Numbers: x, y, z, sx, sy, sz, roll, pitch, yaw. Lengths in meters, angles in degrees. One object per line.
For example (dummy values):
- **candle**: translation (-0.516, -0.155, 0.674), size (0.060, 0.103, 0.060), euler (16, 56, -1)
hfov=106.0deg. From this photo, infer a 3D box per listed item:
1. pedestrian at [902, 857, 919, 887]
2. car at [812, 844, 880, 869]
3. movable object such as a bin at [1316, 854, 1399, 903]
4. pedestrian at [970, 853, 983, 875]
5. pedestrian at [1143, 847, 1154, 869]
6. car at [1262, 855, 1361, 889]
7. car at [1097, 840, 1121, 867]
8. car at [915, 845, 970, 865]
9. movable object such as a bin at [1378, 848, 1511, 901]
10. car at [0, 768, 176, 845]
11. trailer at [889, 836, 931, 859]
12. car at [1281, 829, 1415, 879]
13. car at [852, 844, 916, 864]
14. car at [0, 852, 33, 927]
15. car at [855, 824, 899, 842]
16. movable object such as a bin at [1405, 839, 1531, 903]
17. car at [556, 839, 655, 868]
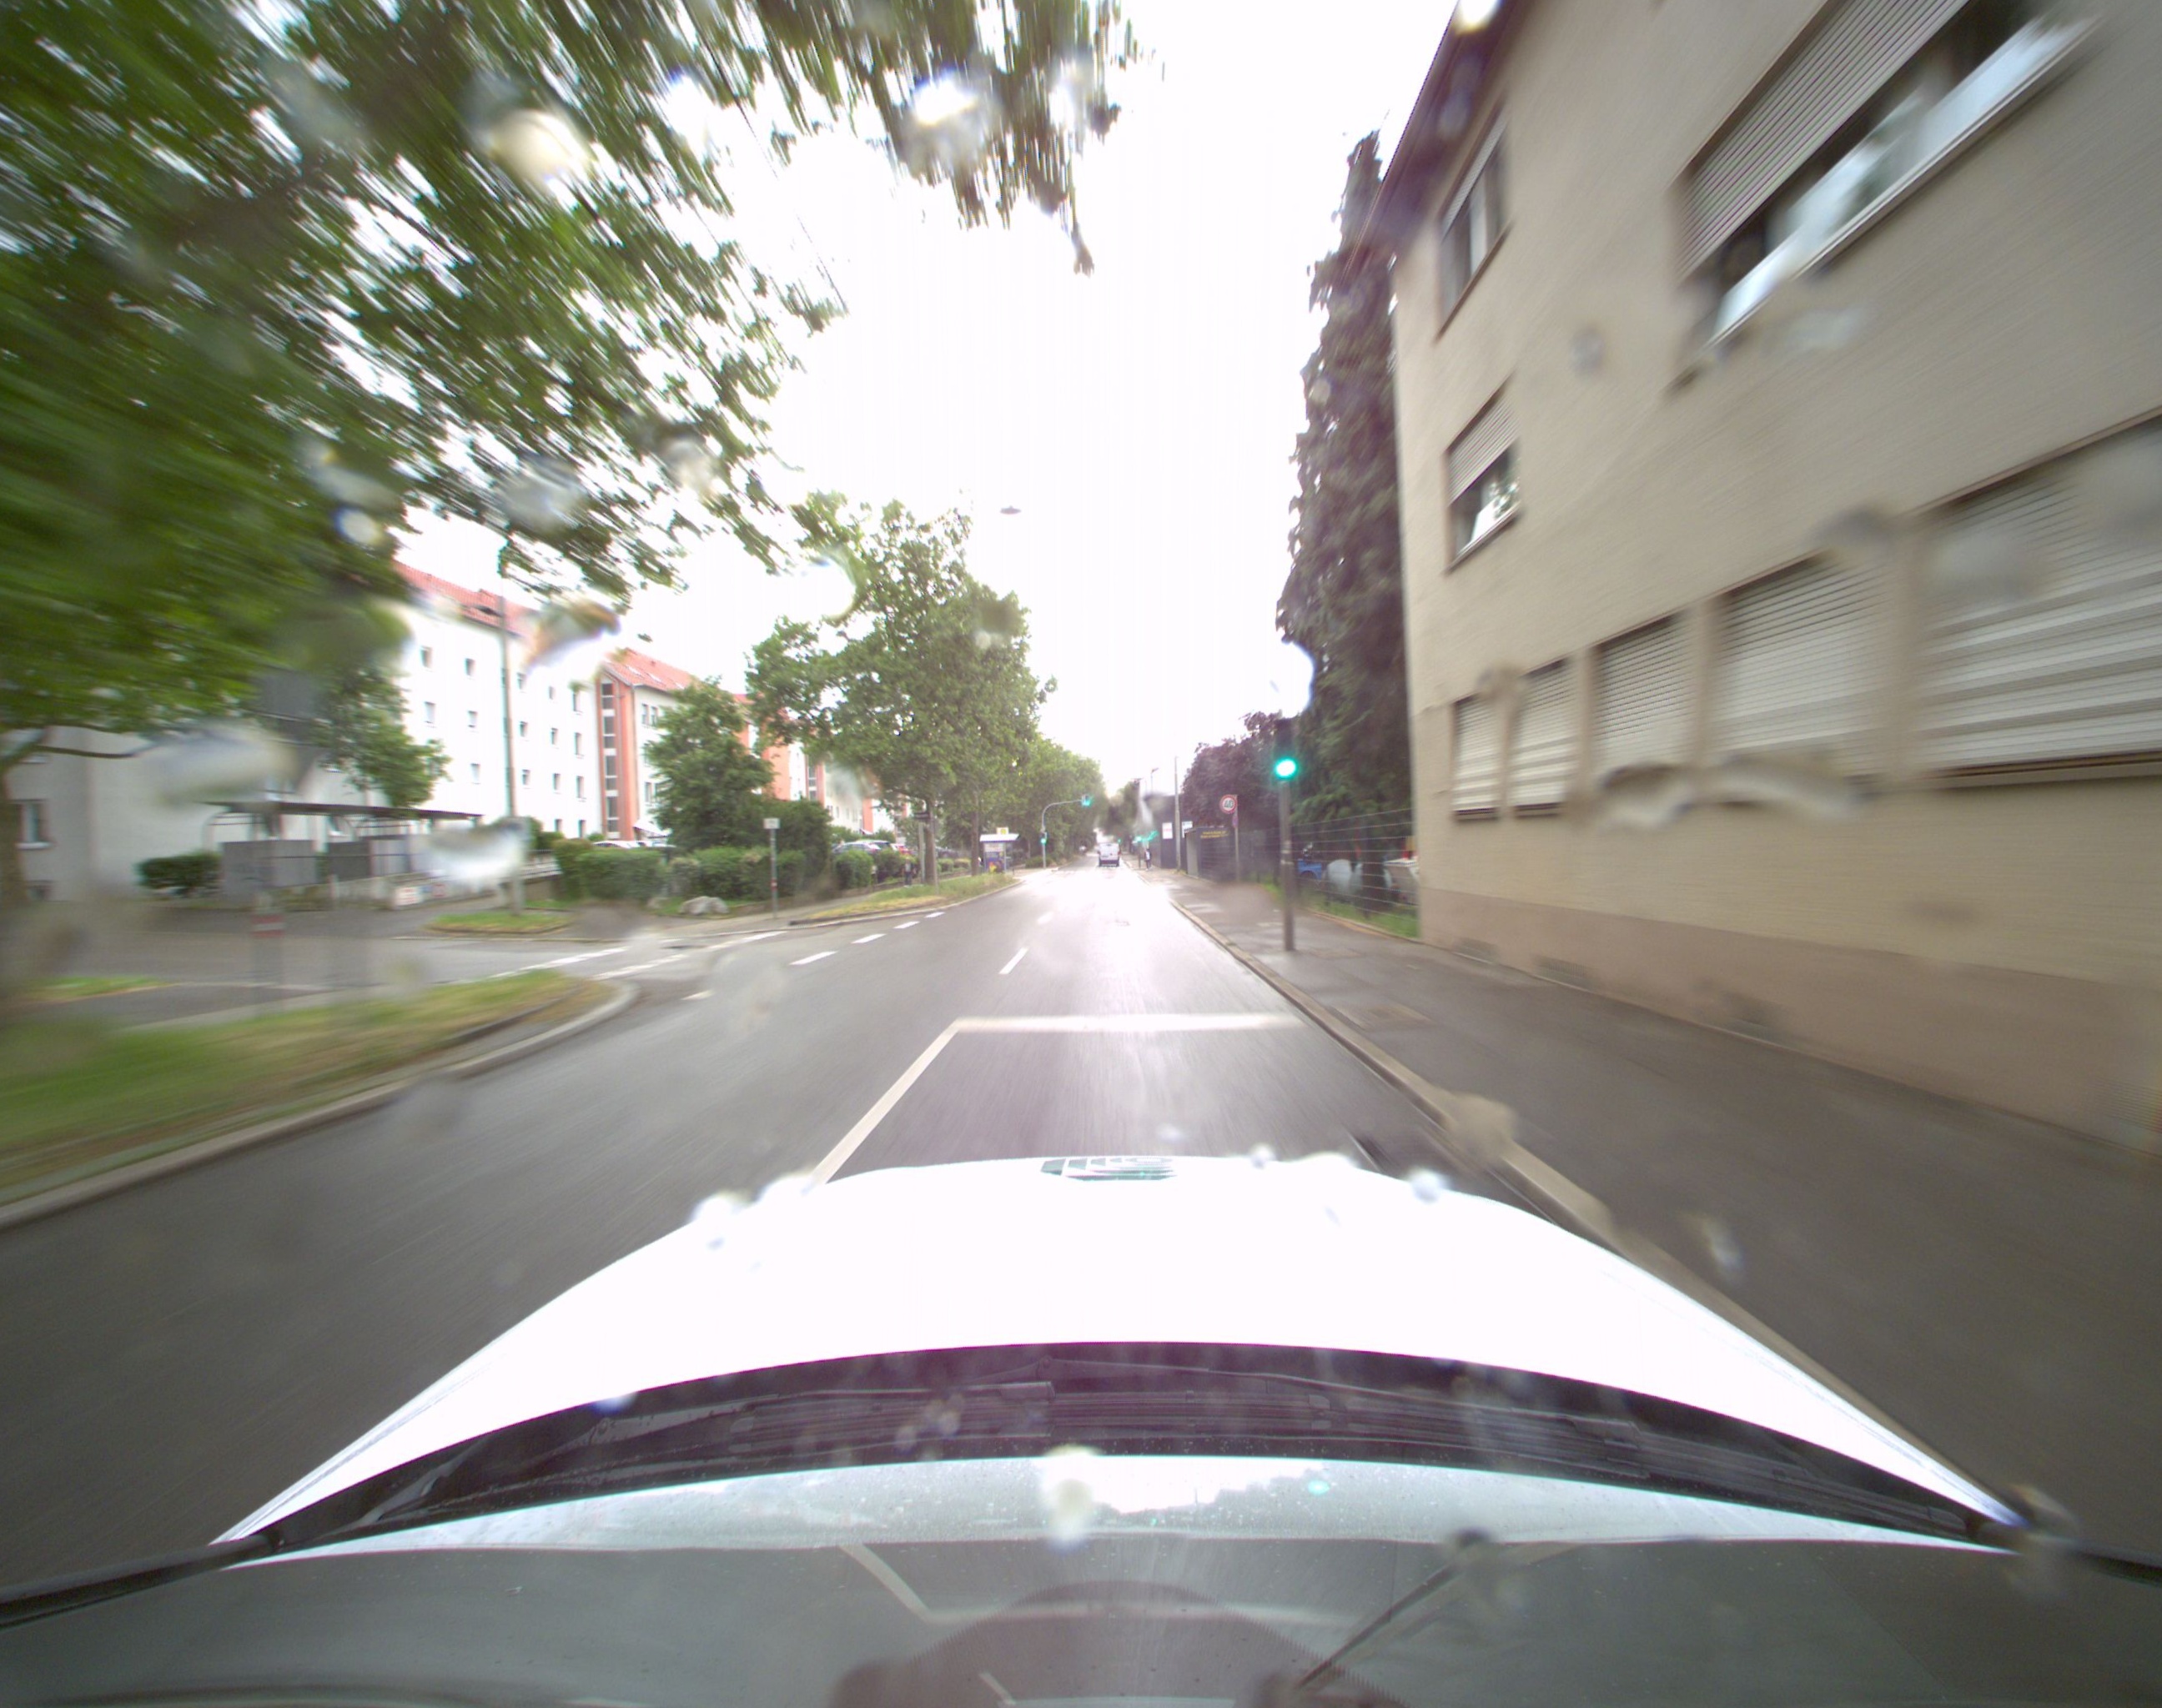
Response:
- **pedestrian**: translation (-9.349, 0.991, 44.660), size (0.753, 1.611, 0.834), euler (0, -1, -3)
- **car**: translation (-14.551, 0.197, 50.529), size (3.643, 1.498, 1.896), euler (0, -1, -2)
- **movable object such as a bin**: translation (8.132, 0.678, 24.139), size (1.367, 1.320, 2.856), euler (0, 0, -3)
- **pedestrian**: translation (-7.990, 0.797, 62.073), size (0.738, 1.598, 0.607), euler (-5, -2, 5)
- **pedestrian**: translation (5.283, 0.352, 64.068), size (0.741, 1.704, 0.900), euler (0, -1, -4)
- **car**: translation (11.311, 0.876, 40.183), size (4.365, 1.531, 1.793), euler (-2, -1, -1)
- **car**: translation (2.859, -0.027, 82.384), size (2.274, 2.553, 4.002), euler (-2, -1, 2)
- **car**: translation (-12.483, 0.106, 73.539), size (4.529, 1.672, 2.000), euler (0, -1, 0)
- **movable object such as a bin**: translation (11.286, 0.598, 25.416), size (3.321, 1.577, 1.891), euler (0, 0, -2)
- **car**: translation (-27.190, -1.240, 21.665), size (3.972, 1.779, 1.879), euler (1, -5, 1)
- **trailer**: translation (-12.542, -0.489, 59.899), size (2.693, 1.645, 1.481), euler (-1, -1, 2)
- **car**: translation (12.250, 0.012, 37.607), size (5.549, 2.211, 2.000), euler (0, 0, 0)
- **car**: translation (-13.941, 0.009, 57.692), size (4.073, 1.303, 1.810), euler (0, -1, 1)
- **car**: translation (-27.357, 0.804, 18.749), size (3.972, 1.779, 1.880), euler (1, -1, 1)
- **car**: translation (-19.696, -2.050, 78.659), size (3.798, 1.602, 1.718), euler (0, -1, -1)
- **movable object such as a bin**: translation (10.984, 0.453, 23.283), size (2.609, 1.716, 2.082), euler (0, 0, -2)
- **car**: translation (-24.418, -0.015, 41.893), size (3.969, 1.415, 1.850), euler (0, -1, 4)
